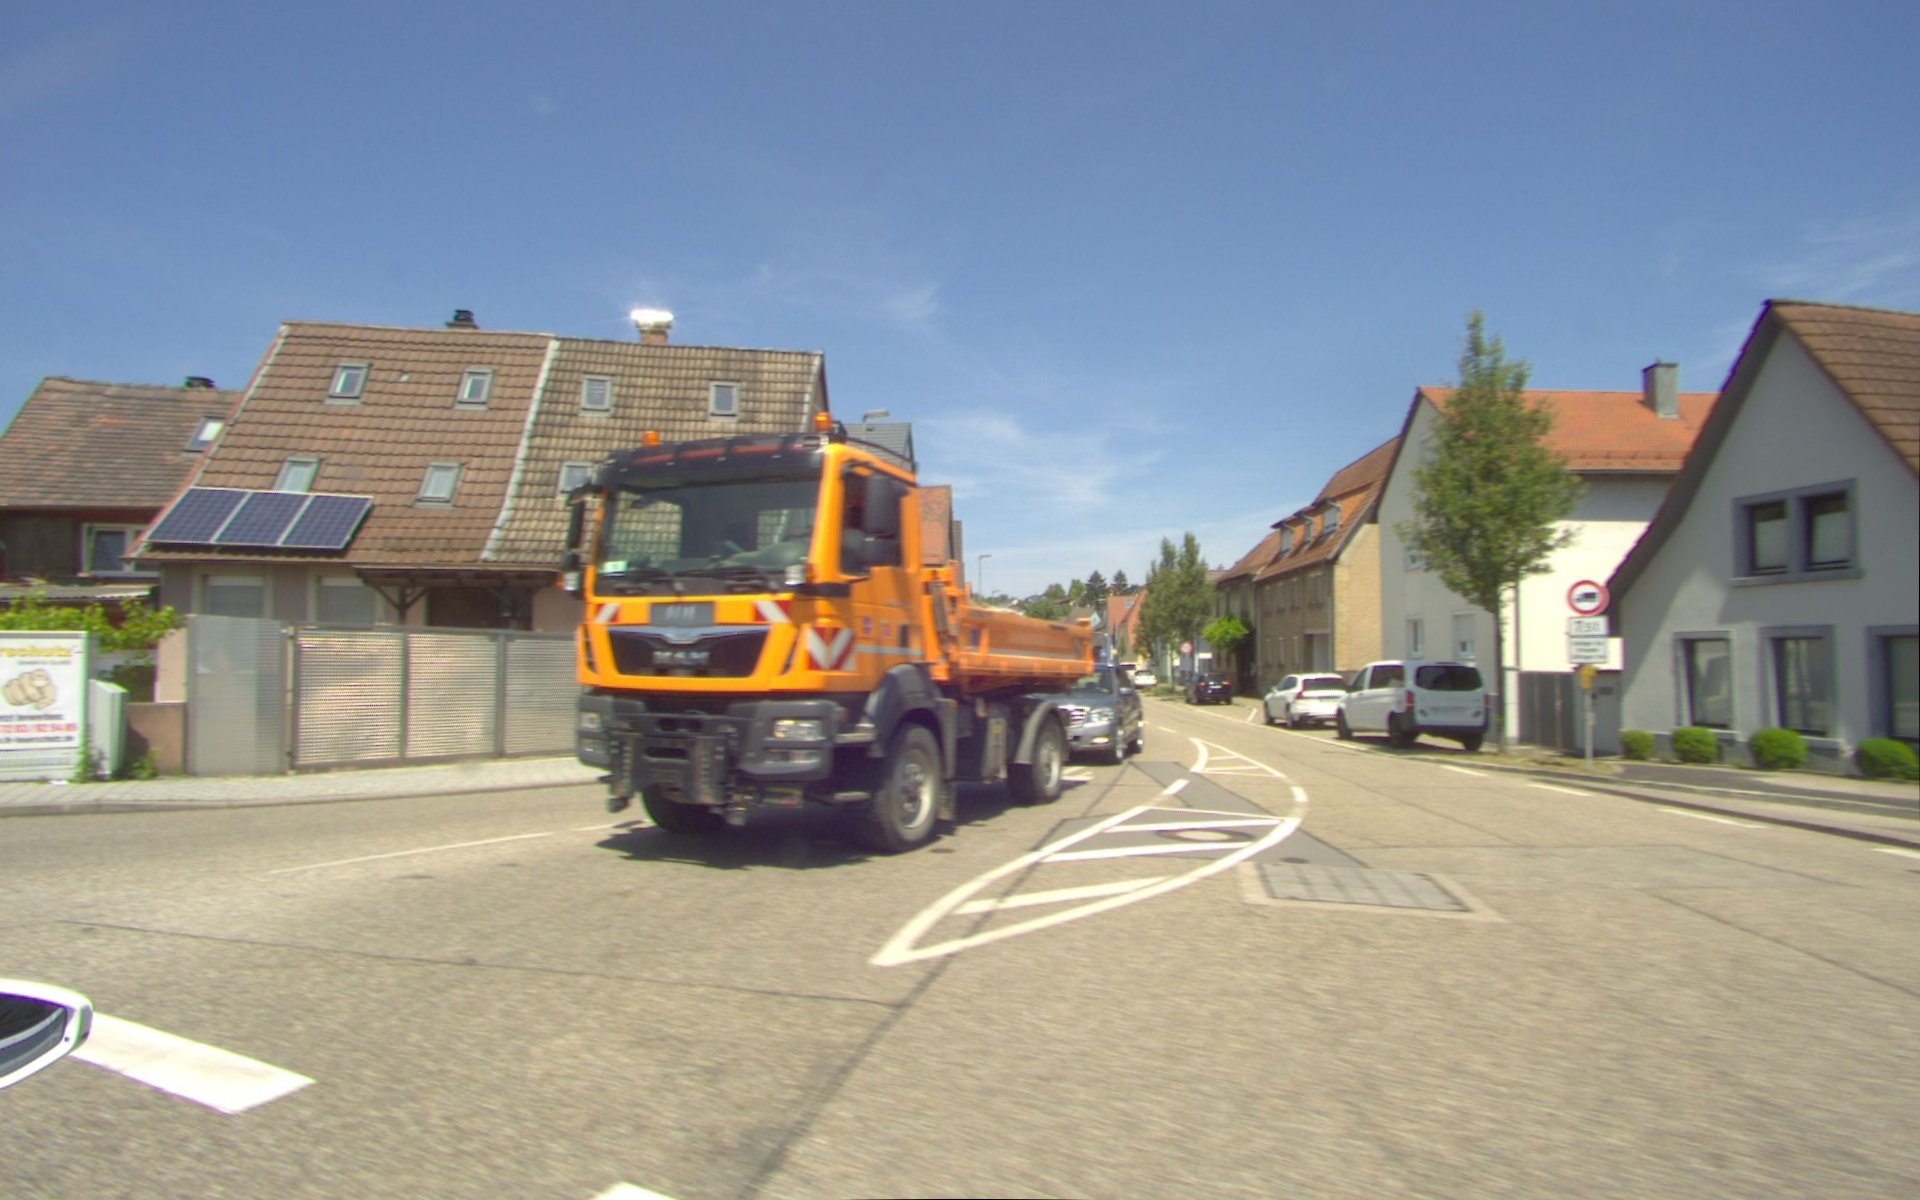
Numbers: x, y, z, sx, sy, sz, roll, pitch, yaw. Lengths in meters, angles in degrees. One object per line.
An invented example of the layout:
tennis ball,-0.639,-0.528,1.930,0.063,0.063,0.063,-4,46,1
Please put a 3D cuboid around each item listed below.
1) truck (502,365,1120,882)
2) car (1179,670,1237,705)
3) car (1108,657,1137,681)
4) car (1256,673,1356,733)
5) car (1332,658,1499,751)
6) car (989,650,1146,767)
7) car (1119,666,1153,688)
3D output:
truck,-0.599,0.462,10.169,2.626,3.218,7.451,-1,-5,24
car,12.091,4.251,49.036,1.961,1.604,4.004,1,-3,1
car,14.281,6.043,88.180,1.961,2.016,4.004,-2,-3,1
car,10.622,3.132,31.029,1.787,1.654,4.211,0,-3,2
car,10.490,2.406,23.463,1.961,1.934,4.331,1,-5,1
car,1.975,1.785,17.067,1.963,1.695,4.313,0,-5,16
car,13.379,5.831,76.172,1.961,1.604,4.004,1,-3,1
